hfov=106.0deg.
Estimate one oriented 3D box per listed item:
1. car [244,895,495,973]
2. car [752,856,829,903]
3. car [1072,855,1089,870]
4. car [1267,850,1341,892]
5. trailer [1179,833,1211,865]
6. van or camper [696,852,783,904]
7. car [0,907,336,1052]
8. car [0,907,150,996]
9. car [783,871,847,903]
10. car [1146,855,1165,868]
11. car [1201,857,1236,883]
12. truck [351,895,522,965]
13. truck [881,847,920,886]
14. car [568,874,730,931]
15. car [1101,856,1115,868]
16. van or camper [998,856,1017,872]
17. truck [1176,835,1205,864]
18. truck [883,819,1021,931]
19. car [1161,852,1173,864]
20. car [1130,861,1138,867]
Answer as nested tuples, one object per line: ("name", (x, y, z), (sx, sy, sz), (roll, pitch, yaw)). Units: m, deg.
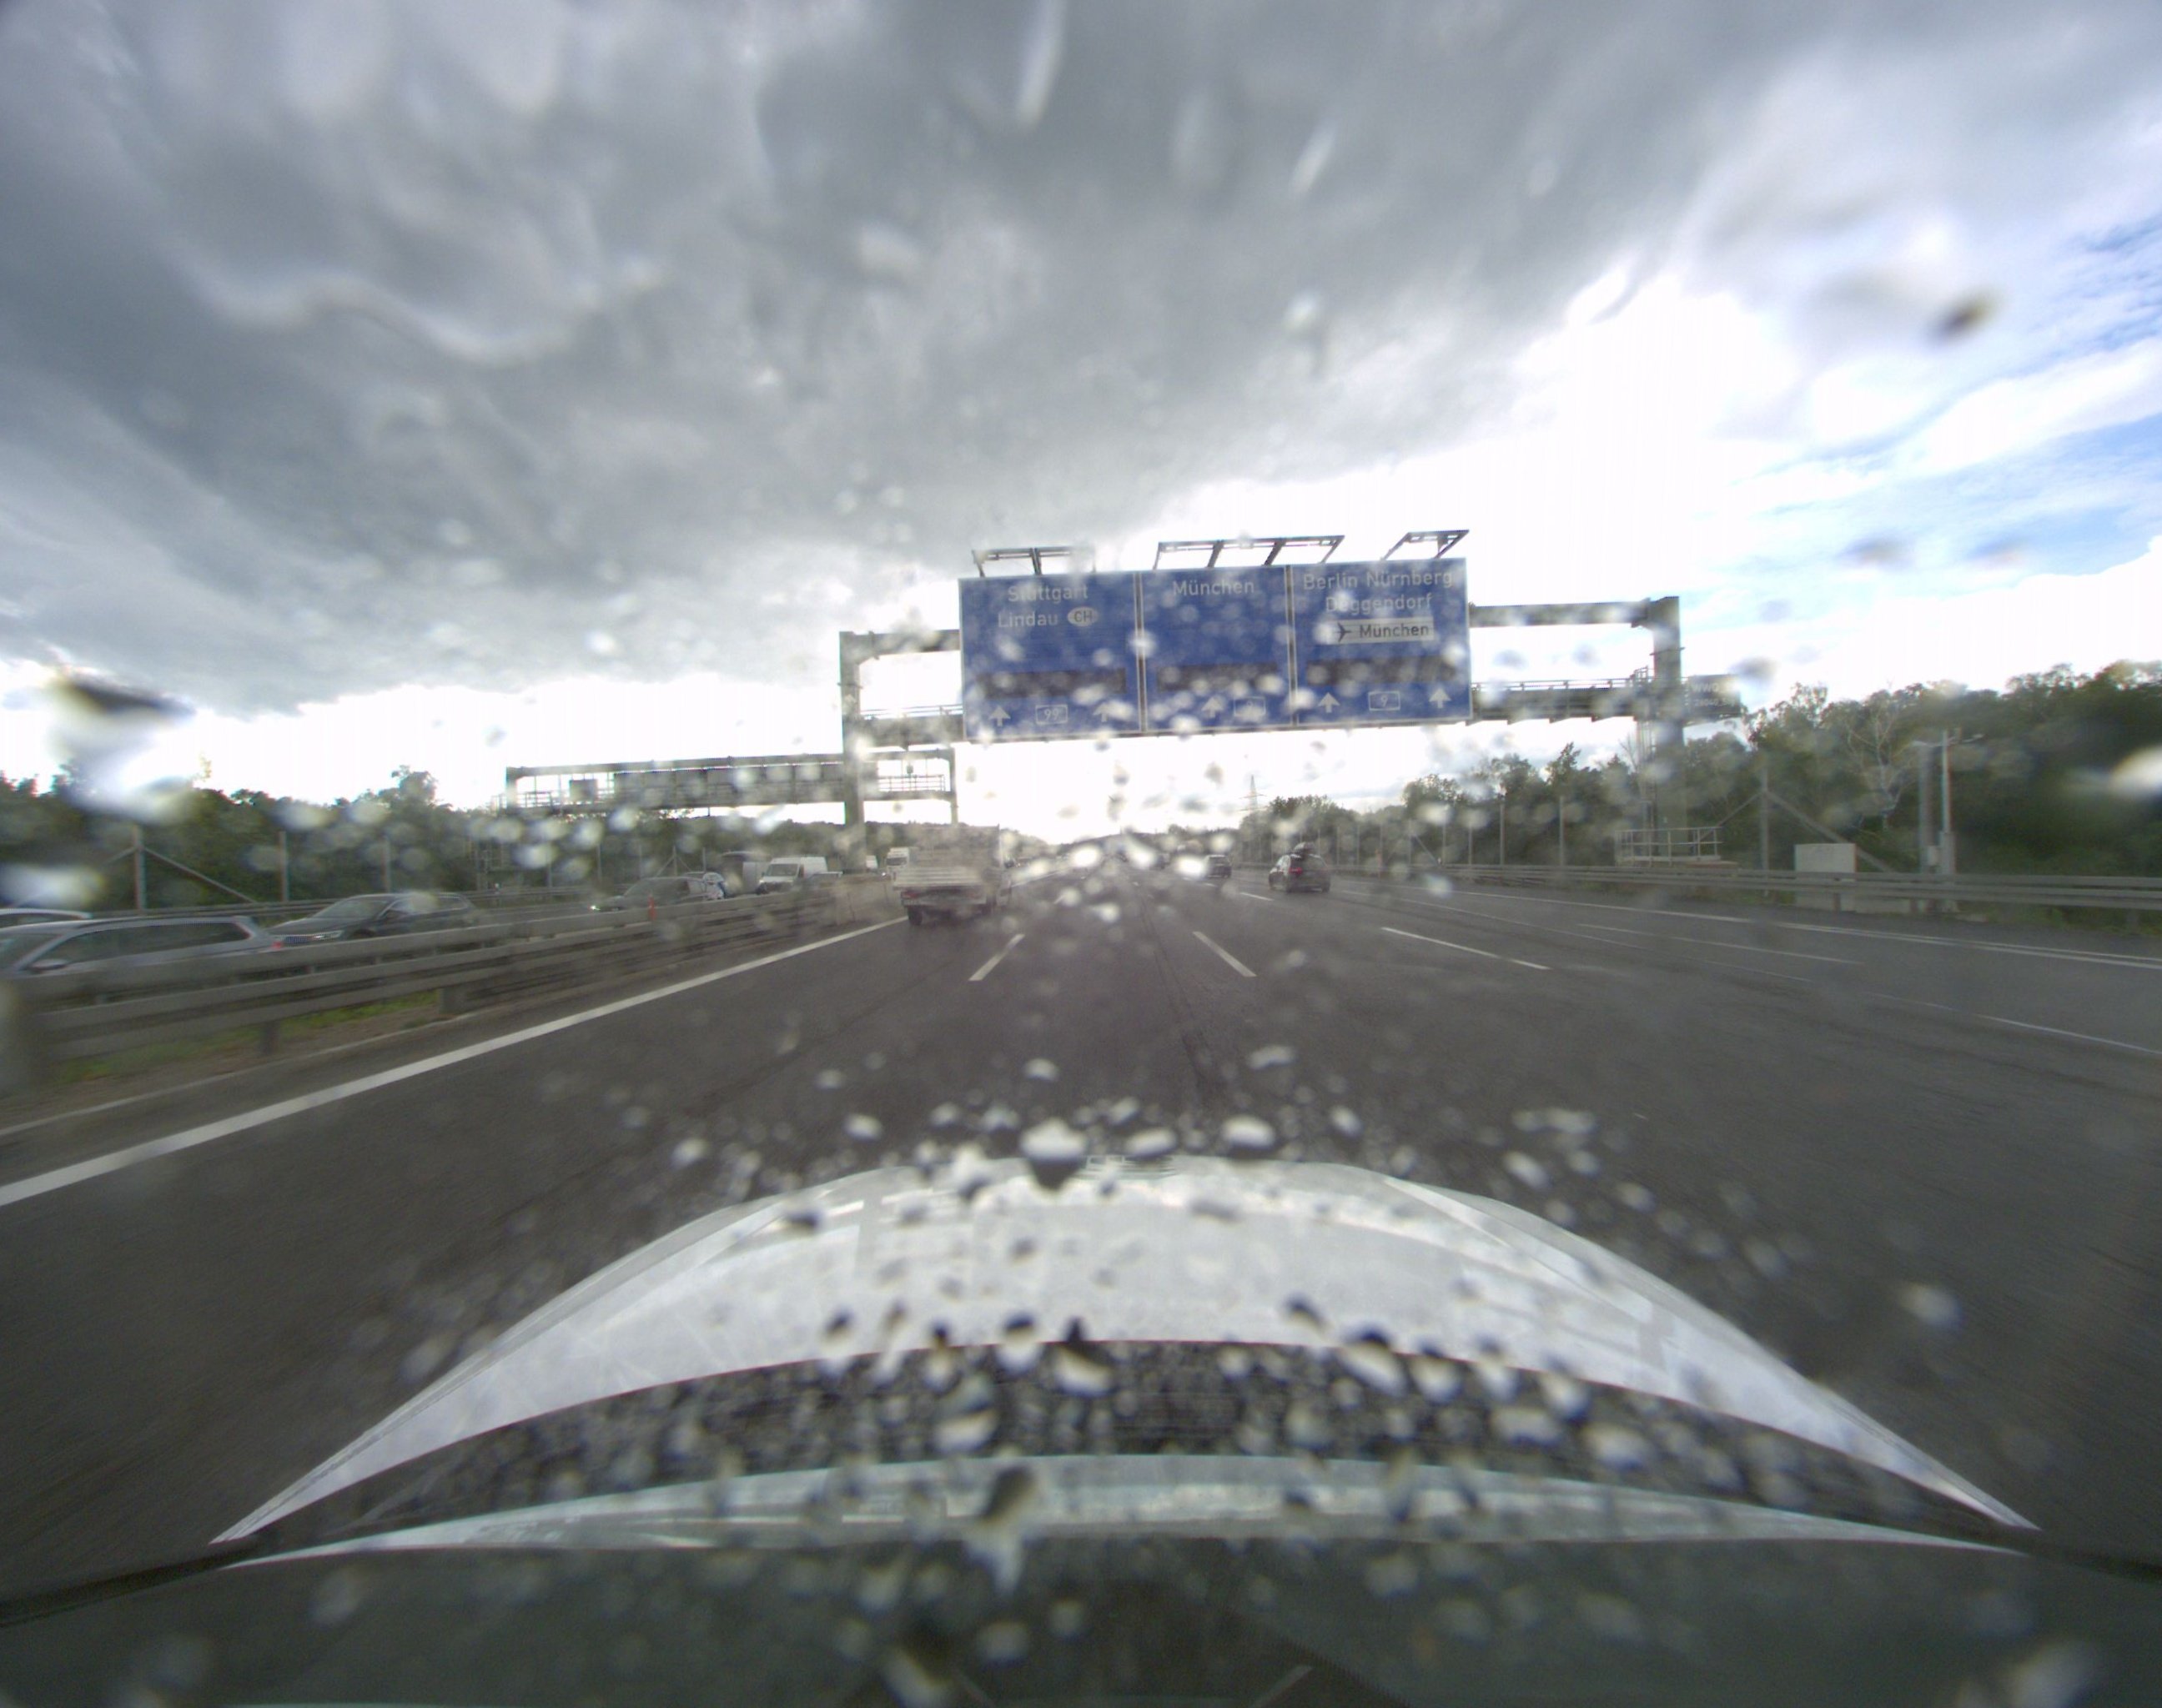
("car", (-16.591, 1.797, 19.389), (1.883, 1.340, 4.564), (-2, 0, 1))
("car", (-16.911, 1.395, 47.839), (2.195, 2.488, 6.066), (-2, 0, 1))
("car", (-0.062, 1.020, 101.333), (2.038, 1.699, 4.001), (-1, 0, 1))
("car", (9.263, 0.701, 34.263), (2.095, 1.606, 5.071), (-1, -1, 4))
("trailer", (16.137, -0.650, 116.038), (3.320, 4.176, 11.843), (-1, 0, 2))
("van or camper", (-20.516, 1.358, 49.281), (2.575, 2.847, 6.212), (-2, 0, -1))
("car", (-13.028, 1.569, 10.665), (1.883, 1.340, 4.946), (-2, 0, 1))
("car", (-20.337, 1.859, 14.826), (1.615, 1.447, 4.417), (-2, 0, 1))
("car", (-13.255, 1.608, 40.886), (1.698, 1.391, 4.504), (-2, 0, -1))
("car", (9.975, 0.964, 109.313), (2.092, 1.699, 3.997), (-1, 0, -2))
("car", (9.825, 1.114, 58.400), (2.035, 1.699, 5.013), (-1, 0, 5))
("truck", (-19.555, 2.242, 24.985), (1.987, 1.746, 4.000), (-1, 0, 0))
("truck", (-23.254, 1.556, 105.202), (3.136, 4.856, 8.027), (-1, 0, 0))
("car", (-13.054, 1.398, 25.090), (2.072, 1.357, 5.257), (-2, 0, 1))
("car", (4.012, 1.163, 122.843), (2.038, 1.699, 4.001), (-1, 0, 1))
("van or camper", (-10.364, 1.421, 115.496), (2.087, 2.186, 4.973), (-1, 0, 2))
("truck", (16.337, -0.611, 122.003), (3.320, 4.080, 8.275), (-1, 0, 2))
("truck", (-3.067, 0.462, 21.338), (2.345, 2.408, 7.358), (-1, 0, 0))
("car", (17.273, 0.806, 164.059), (2.038, 2.498, 4.001), (-1, 0, 1))
("car", (16.012, 3.127, 246.213), (2.037, 1.699, 4.003), (-1, 0, 3))
